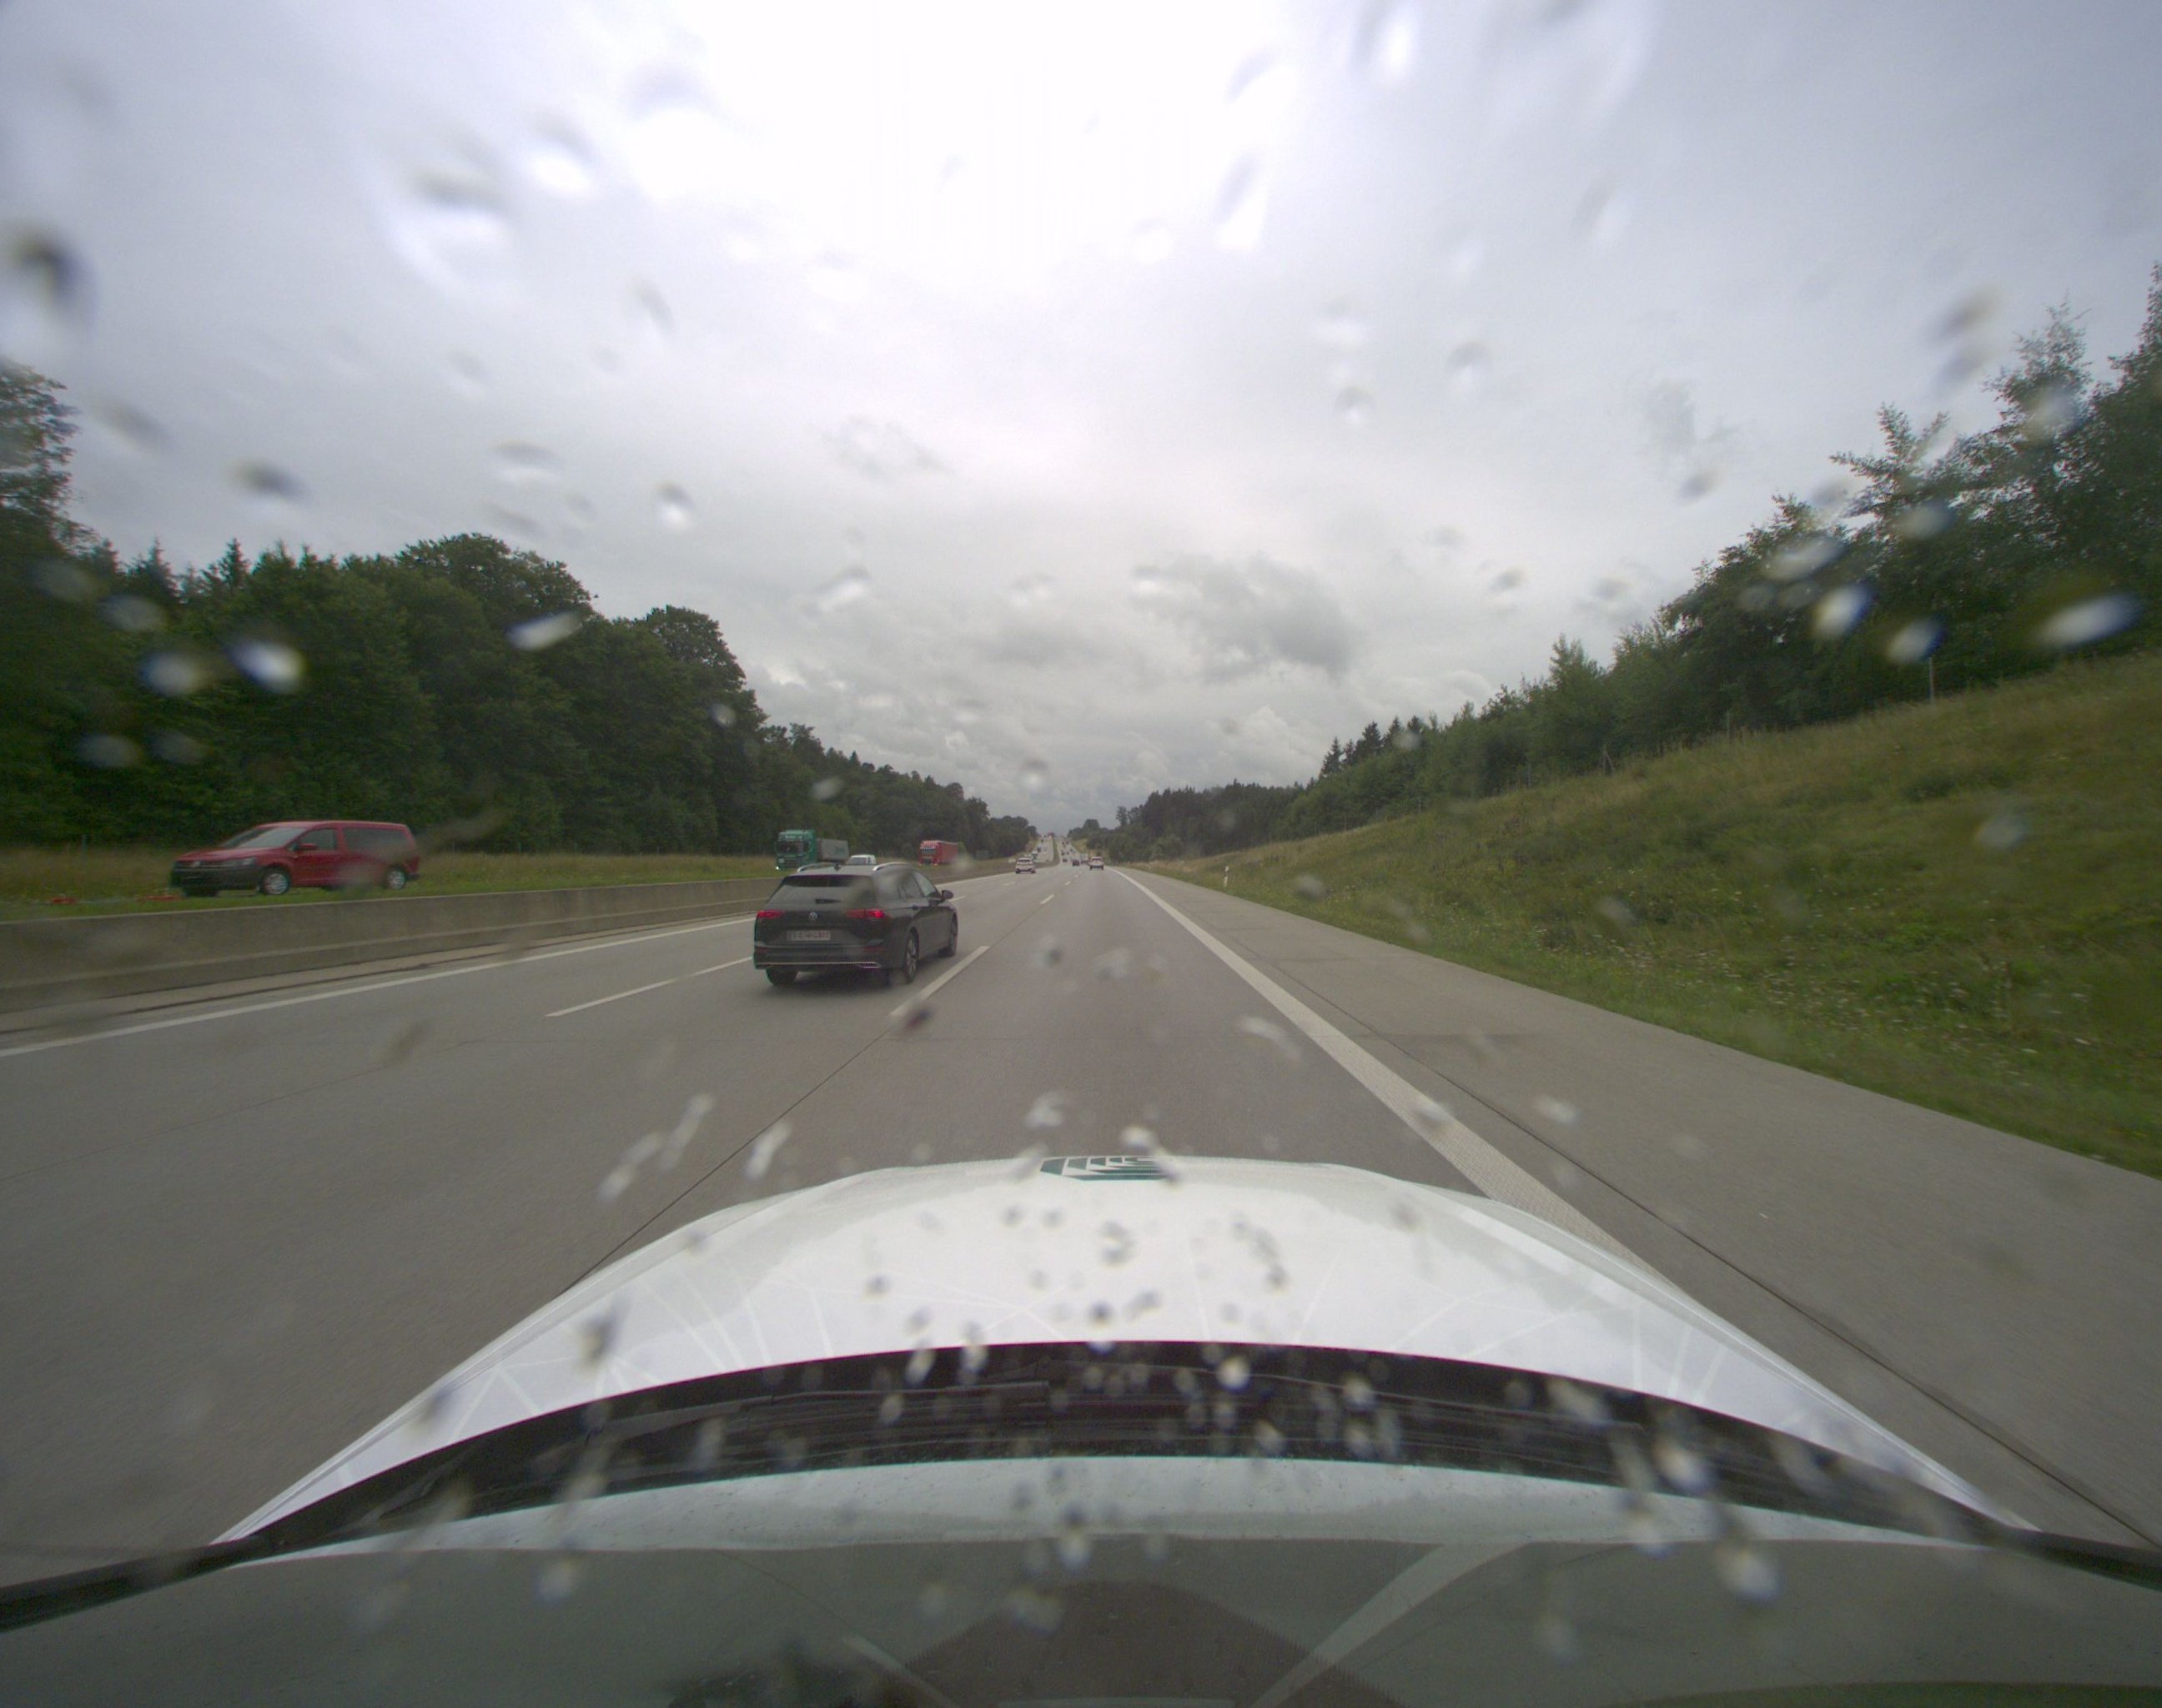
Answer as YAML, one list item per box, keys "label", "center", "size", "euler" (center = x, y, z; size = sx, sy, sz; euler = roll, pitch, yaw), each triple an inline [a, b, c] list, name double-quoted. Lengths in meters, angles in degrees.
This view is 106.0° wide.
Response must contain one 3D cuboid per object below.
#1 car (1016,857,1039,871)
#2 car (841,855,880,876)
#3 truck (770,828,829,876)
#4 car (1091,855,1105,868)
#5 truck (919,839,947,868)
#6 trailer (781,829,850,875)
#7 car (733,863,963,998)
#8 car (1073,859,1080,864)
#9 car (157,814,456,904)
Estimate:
- label: "car"
  center: [-5.403, 0.994, 82.573]
  size: [1.940, 1.356, 4.261]
  euler: [0, 0, 1]
- label: "car"
  center: [-17.752, 0.929, 65.844]
  size: [1.774, 1.599, 4.562]
  euler: [0, 0, 1]
- label: "truck"
  center: [-22.746, -0.172, 66.061]
  size: [2.770, 3.740, 5.661]
  euler: [0, 0, 1]
- label: "car"
  center: [2.250, 0.917, 106.045]
  size: [1.819, 1.655, 3.986]
  euler: [0, 0, 1]
- label: "truck"
  center: [-20.702, -0.086, 114.552]
  size: [2.544, 3.928, 6.947]
  euler: [0, 0, 1]
- label: "trailer"
  center: [-22.691, -0.138, 70.217]
  size: [2.794, 3.700, 9.013]
  euler: [0, 0, 1]
- label: "car"
  center: [-2.848, 0.851, 11.055]
  size: [1.746, 1.398, 4.485]
  euler: [0, 0, 1]
- label: "car"
  center: [-1.187, 2.014, 215.900]
  size: [1.930, 1.375, 4.592]
  euler: [0, 0, -1]
- label: "car"
  center: [-18.360, 0.102, 19.802]
  size: [1.985, 1.882, 5.318]
  euler: [0, 0, 3]
